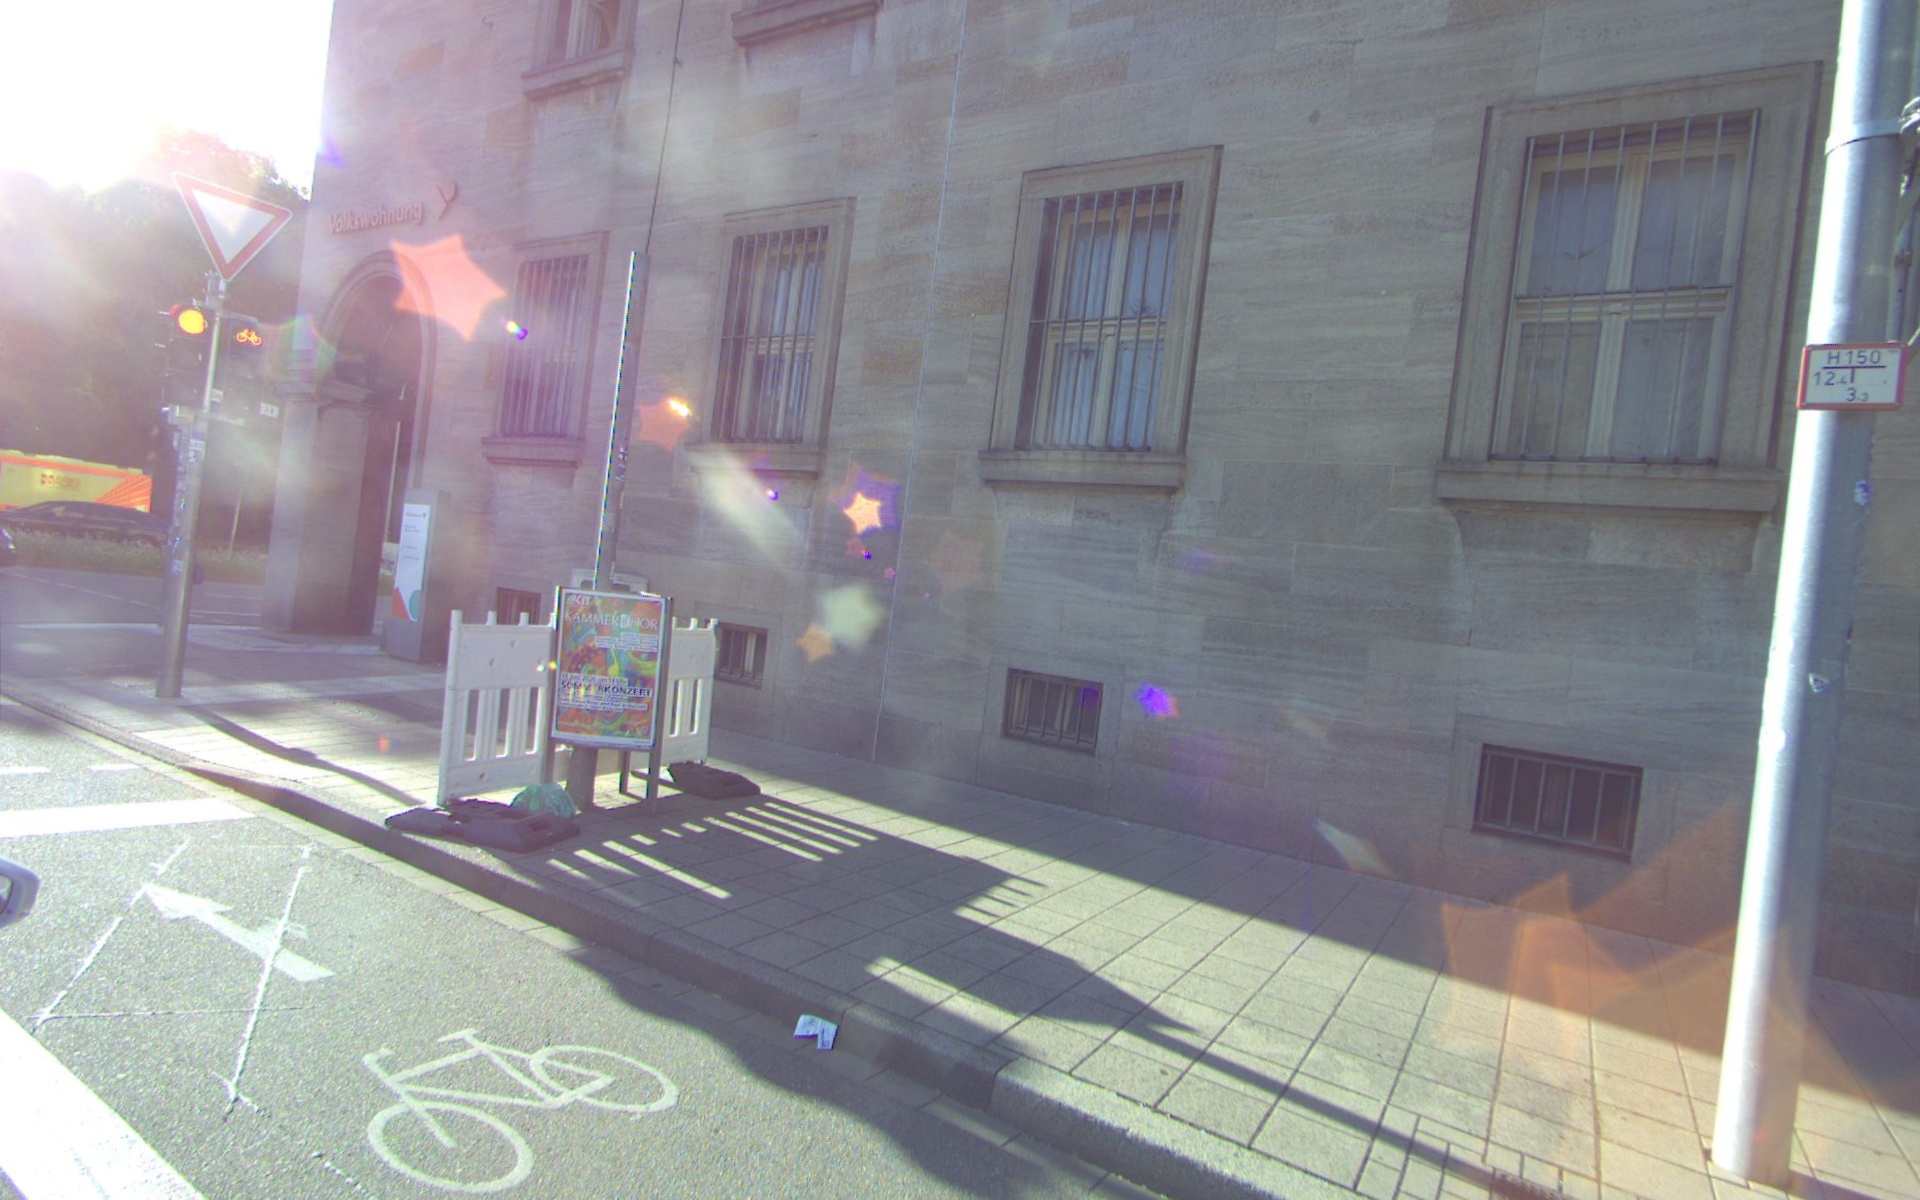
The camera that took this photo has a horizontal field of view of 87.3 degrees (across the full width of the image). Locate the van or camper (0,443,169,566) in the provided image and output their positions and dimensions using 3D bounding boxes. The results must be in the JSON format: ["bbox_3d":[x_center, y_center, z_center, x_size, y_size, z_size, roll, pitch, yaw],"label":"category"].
[{"bbox_3d":[-27.943,-3.005,29.503,2.866,2.893,6.716,6,-3,36],"label":"van or camper"}]

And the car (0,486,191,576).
[{"bbox_3d":[-23.296,-1.812,26.499,1.857,1.665,4.324,6,-3,32],"label":"car"}]

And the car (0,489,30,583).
[{"bbox_3d":[-17.282,-1.284,15.806,1.496,1.523,3.539,7,-2,29],"label":"car"}]
